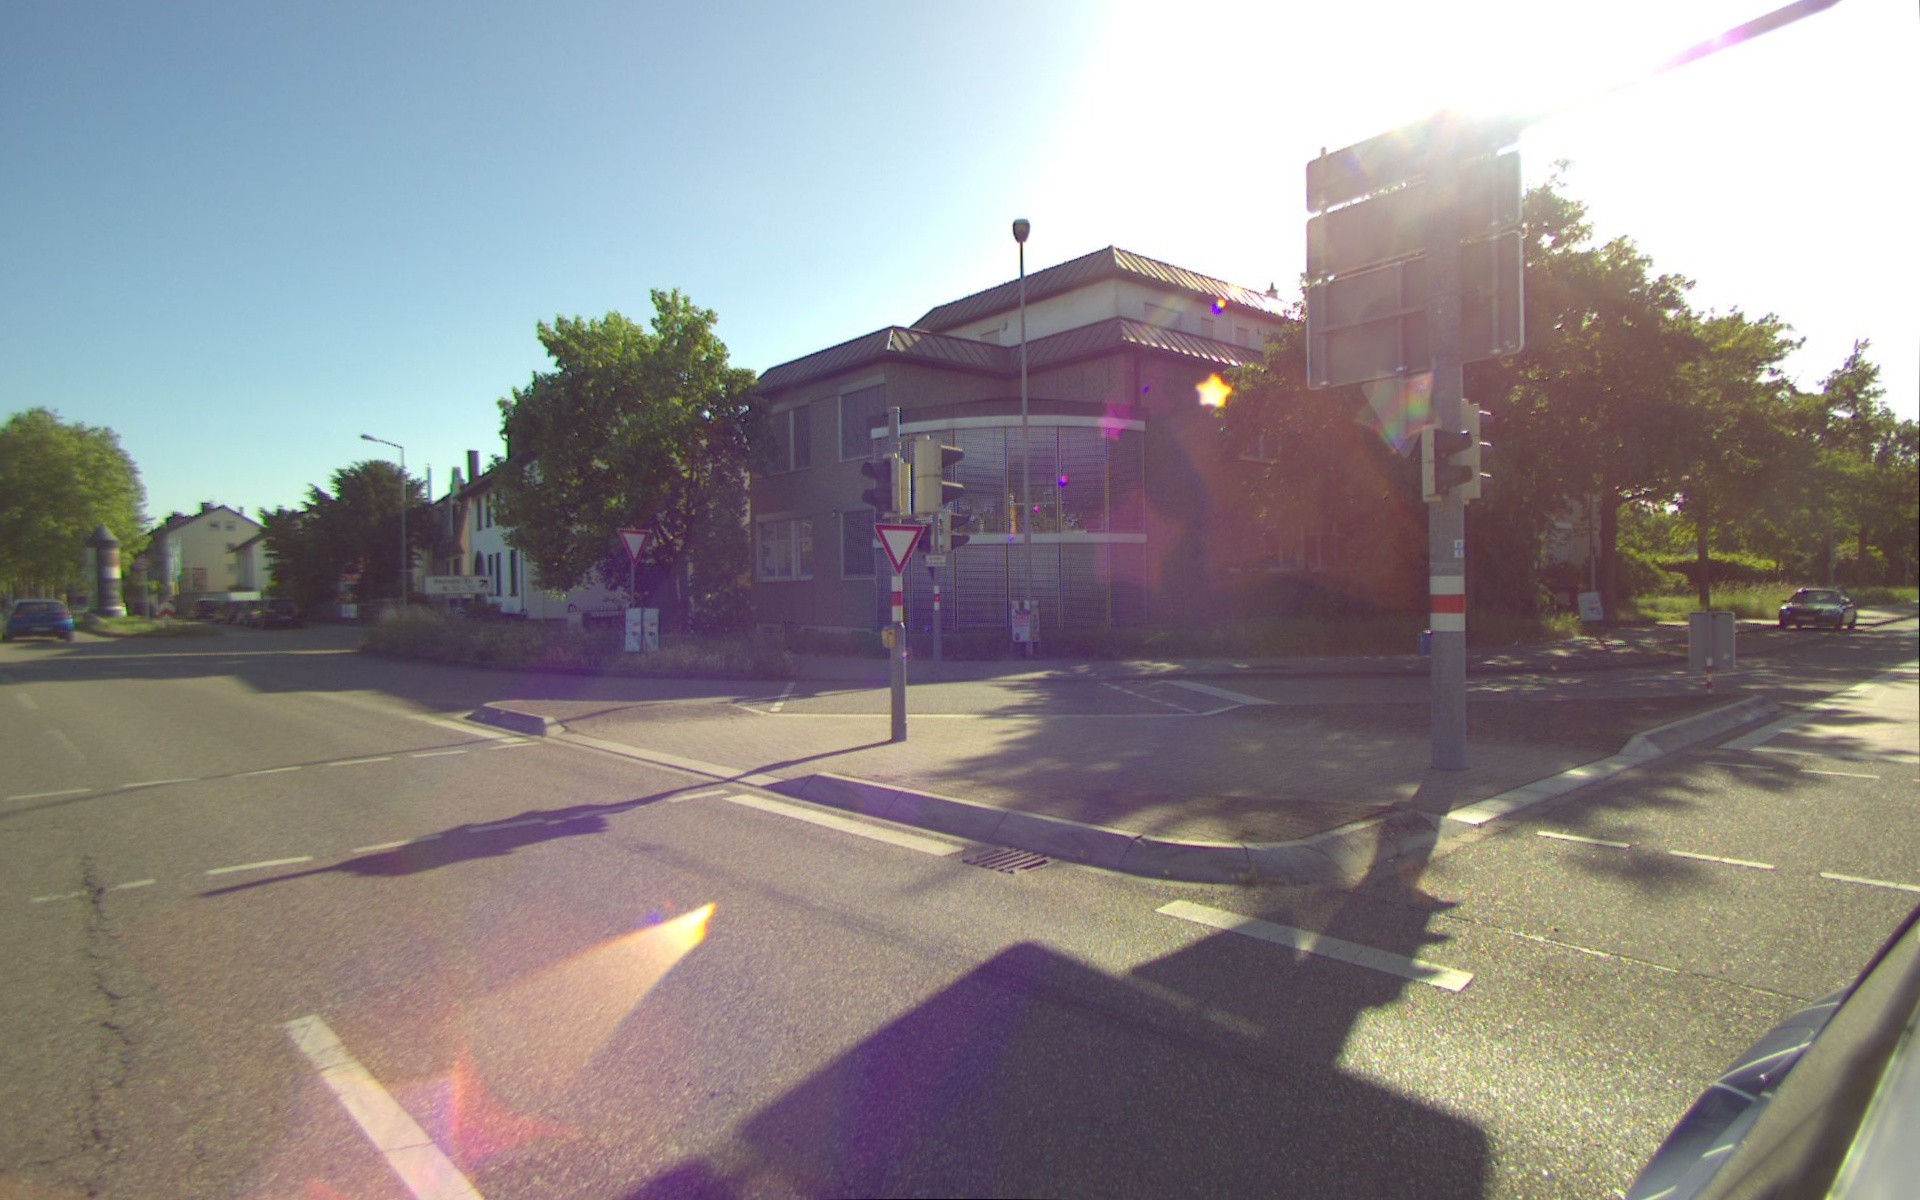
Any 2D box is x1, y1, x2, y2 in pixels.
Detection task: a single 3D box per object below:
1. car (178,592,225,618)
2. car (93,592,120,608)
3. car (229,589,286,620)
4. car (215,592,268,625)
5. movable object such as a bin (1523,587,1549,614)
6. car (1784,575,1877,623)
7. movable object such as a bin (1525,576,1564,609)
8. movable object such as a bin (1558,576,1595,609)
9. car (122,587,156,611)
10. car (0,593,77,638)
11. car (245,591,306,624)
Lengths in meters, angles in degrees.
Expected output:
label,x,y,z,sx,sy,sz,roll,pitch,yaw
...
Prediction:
label,x,y,z,sx,sy,sz,roll,pitch,yaw
car,-50.521,0.340,67.420,1.968,1.612,3.987,-1,-1,-45
car,-90.294,-0.010,107.060,1.829,1.611,3.988,-2,1,-45
car,-40.027,0.257,57.621,1.968,1.616,3.987,-1,-1,-45
car,-43.183,0.524,60.770,1.968,1.841,3.987,-1,-1,-45
movable object such as a bin,22.881,0.017,40.209,0.683,1.055,0.687,-1,-1,-40
car,29.948,-0.092,34.777,4.141,1.504,1.776,-2,2,-40
movable object such as a bin,24.444,-0.319,42.349,0.782,1.358,1.207,-1,1,-40
movable object such as a bin,25.202,-0.308,41.403,0.782,1.338,1.089,-1,1,-40
car,-71.898,-0.079,88.617,3.984,1.981,1.769,-2,-1,43
car,-31.817,0.489,34.867,3.779,1.458,1.711,1,1,43
car,-36.370,0.344,53.741,1.968,1.638,3.988,-2,1,-45
